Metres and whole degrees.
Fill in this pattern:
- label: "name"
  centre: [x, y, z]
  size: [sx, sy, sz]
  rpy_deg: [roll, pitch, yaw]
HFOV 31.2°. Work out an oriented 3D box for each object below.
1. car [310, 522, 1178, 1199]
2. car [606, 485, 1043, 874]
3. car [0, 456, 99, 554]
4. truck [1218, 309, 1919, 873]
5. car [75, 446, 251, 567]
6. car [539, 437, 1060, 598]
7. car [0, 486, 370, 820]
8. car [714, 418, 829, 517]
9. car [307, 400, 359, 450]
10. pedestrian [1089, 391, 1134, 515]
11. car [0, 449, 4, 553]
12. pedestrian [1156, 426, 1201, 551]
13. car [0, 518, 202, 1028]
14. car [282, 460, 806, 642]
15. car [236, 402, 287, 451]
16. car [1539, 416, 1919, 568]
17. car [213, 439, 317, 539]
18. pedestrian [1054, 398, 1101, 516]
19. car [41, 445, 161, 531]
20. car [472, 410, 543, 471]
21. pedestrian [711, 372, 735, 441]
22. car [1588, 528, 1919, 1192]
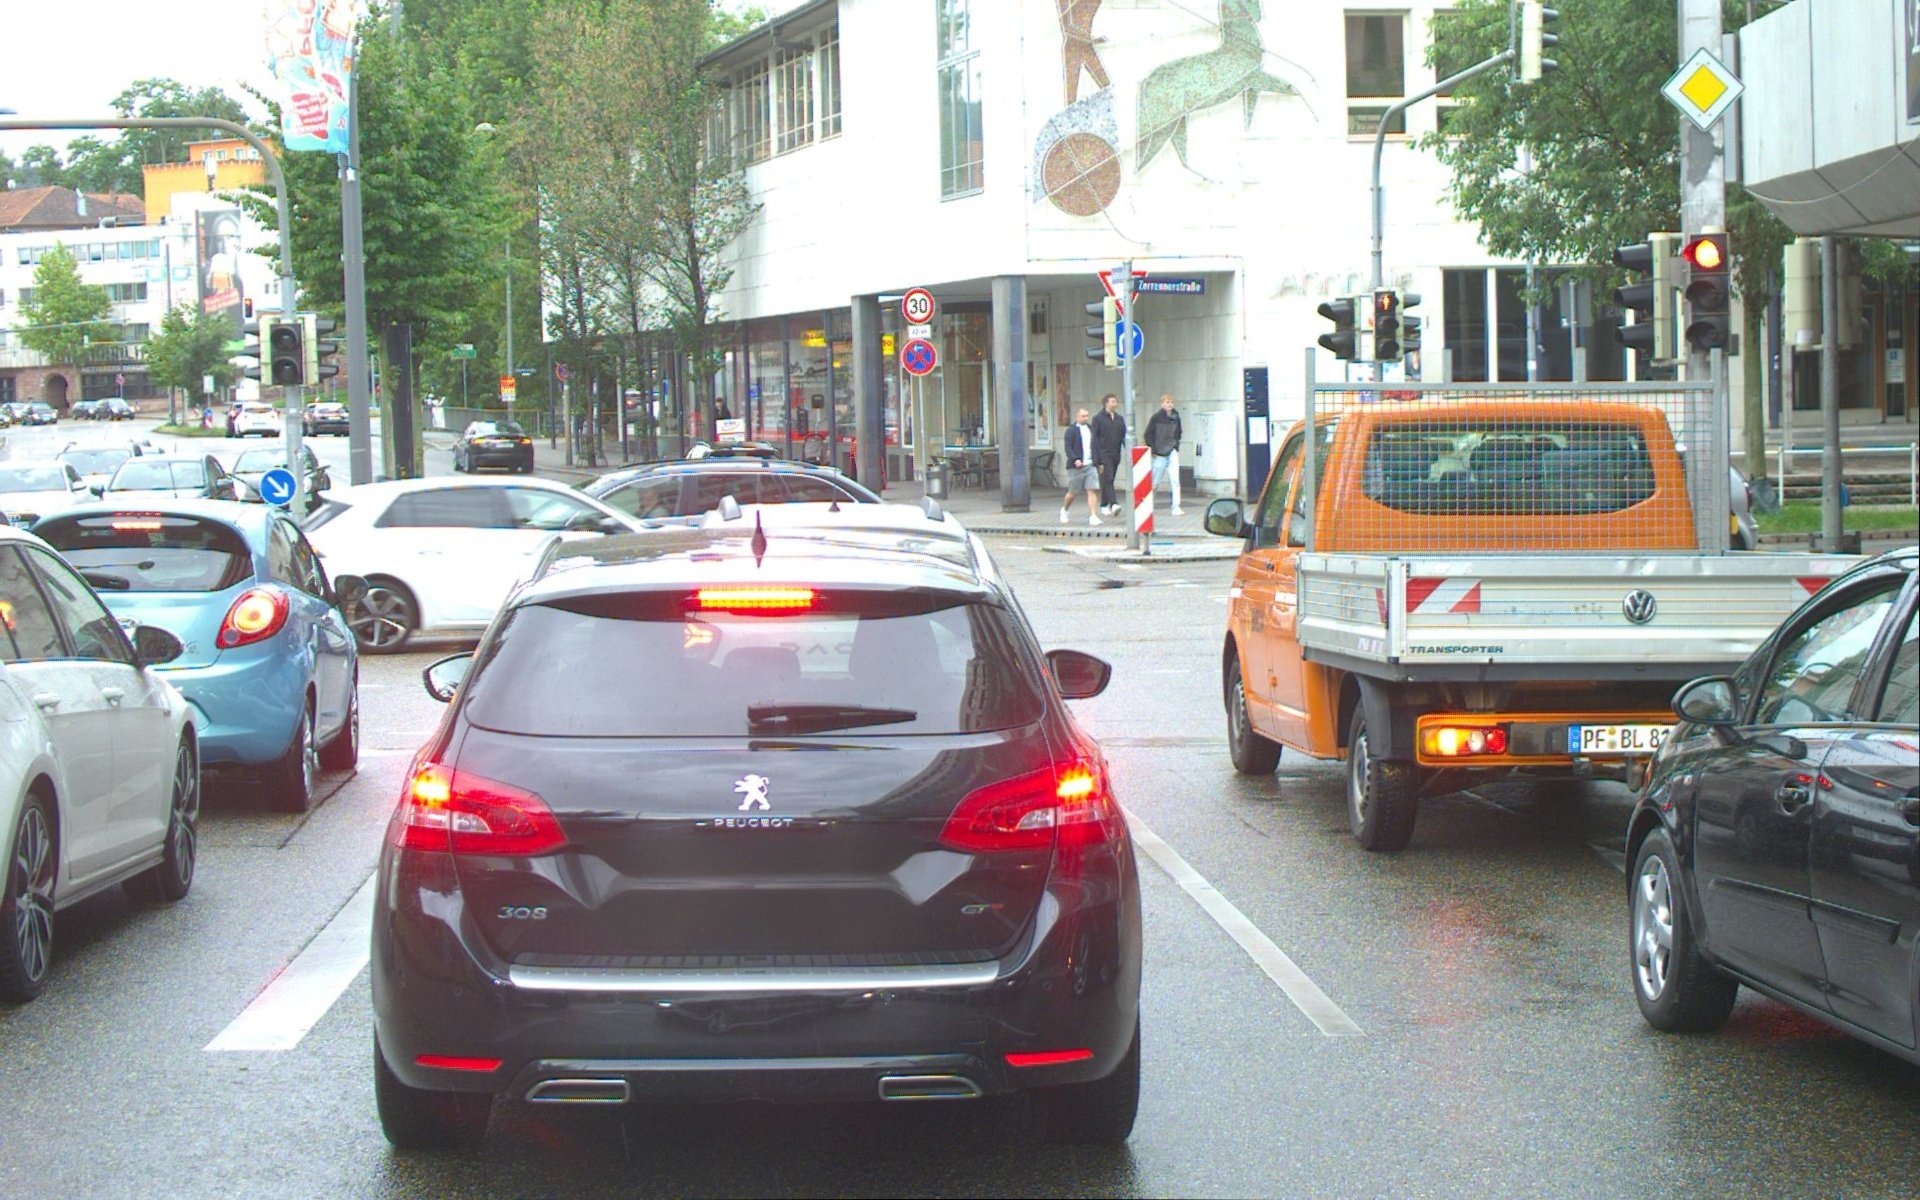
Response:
- label: "car"
  centre: [-0.527, 0.535, 9.010]
  size: [1.777, 1.424, 3.843]
  rpy_deg: [0, 2, -2]
- label: "car"
  centre: [-0.556, 0.251, 15.343]
  size: [1.696, 1.481, 3.794]
  rpy_deg: [1, 2, -1]
- label: "car"
  centre: [-14.595, -1.512, 53.989]
  size: [1.632, 1.481, 3.611]
  rpy_deg: [0, 2, -7]
- label: "truck"
  centre: [2.584, -0.132, 15.804]
  size: [2.177, 2.165, 5.021]
  rpy_deg: [1, 2, -3]
- label: "car"
  centre: [-11.050, -1.265, 47.903]
  size: [1.744, 1.574, 4.000]
  rpy_deg: [1, 0, -4]
- label: "car"
  centre: [-1.550, -0.797, 32.973]
  size: [4.721, 1.481, 1.639]
  rpy_deg: [0, 2, -17]
- label: "car"
  centre: [-3.961, 0.188, 17.421]
  size: [1.632, 1.481, 3.610]
  rpy_deg: [0, 2, -5]
- label: "car"
  centre: [-3.141, -2.240, 57.342]
  size: [1.787, 1.449, 4.508]
  rpy_deg: [-3, 4, -3]
- label: "car"
  centre: [-26.870, -7.488, 147.236]
  size: [1.705, 1.929, 4.001]
  rpy_deg: [1, 0, -18]
- label: "pedestrian"
  centre: [2.345, -2.267, 53.145]
  size: [0.637, 1.891, 0.733]
  rpy_deg: [0, 0, 6]
- label: "car"
  centre: [-14.306, -1.341, 47.167]
  size: [1.574, 1.481, 3.610]
  rpy_deg: [0, 2, -4]
- label: "pedestrian"
  centre: [3.371, -1.714, 53.042]
  size: [0.637, 1.891, 0.733]
  rpy_deg: [0, 0, 6]
- label: "car"
  centre: [-3.730, 0.453, 11.443]
  size: [1.777, 1.424, 3.843]
  rpy_deg: [0, 2, -3]
- label: "car"
  centre: [-3.579, -0.431, 29.339]
  size: [4.291, 1.481, 1.639]
  rpy_deg: [0, 2, -13]
- label: "car"
  centre: [-29.677, -7.357, 145.982]
  size: [1.705, 1.875, 4.001]
  rpy_deg: [1, 0, -18]
- label: "car"
  centre: [8.164, -1.096, 35.737]
  size: [3.894, 1.481, 1.624]
  rpy_deg: [1, 0, -12]
- label: "car"
  centre: [-12.384, -1.950, 61.344]
  size: [1.744, 1.634, 4.001]
  rpy_deg: [1, 0, -11]
- label: "pedestrian"
  centre: [1.777, -2.148, 51.811]
  size: [0.637, 1.752, 0.733]
  rpy_deg: [0, 0, 6]
- label: "car"
  centre: [-15.291, -2.016, 61.324]
  size: [1.632, 1.481, 3.611]
  rpy_deg: [0, 2, -7]
- label: "car"
  centre: [-12.764, -4.460, 96.833]
  size: [1.724, 1.485, 4.734]
  rpy_deg: [1, 0, -10]
- label: "pedestrian"
  centre: [-6.056, -4.948, 87.969]
  size: [0.468, 1.742, 0.541]
  rpy_deg: [1, 0, -21]
- label: "car"
  centre: [2.854, 0.558, 8.658]
  size: [1.616, 1.424, 3.843]
  rpy_deg: [0, 2, -3]
